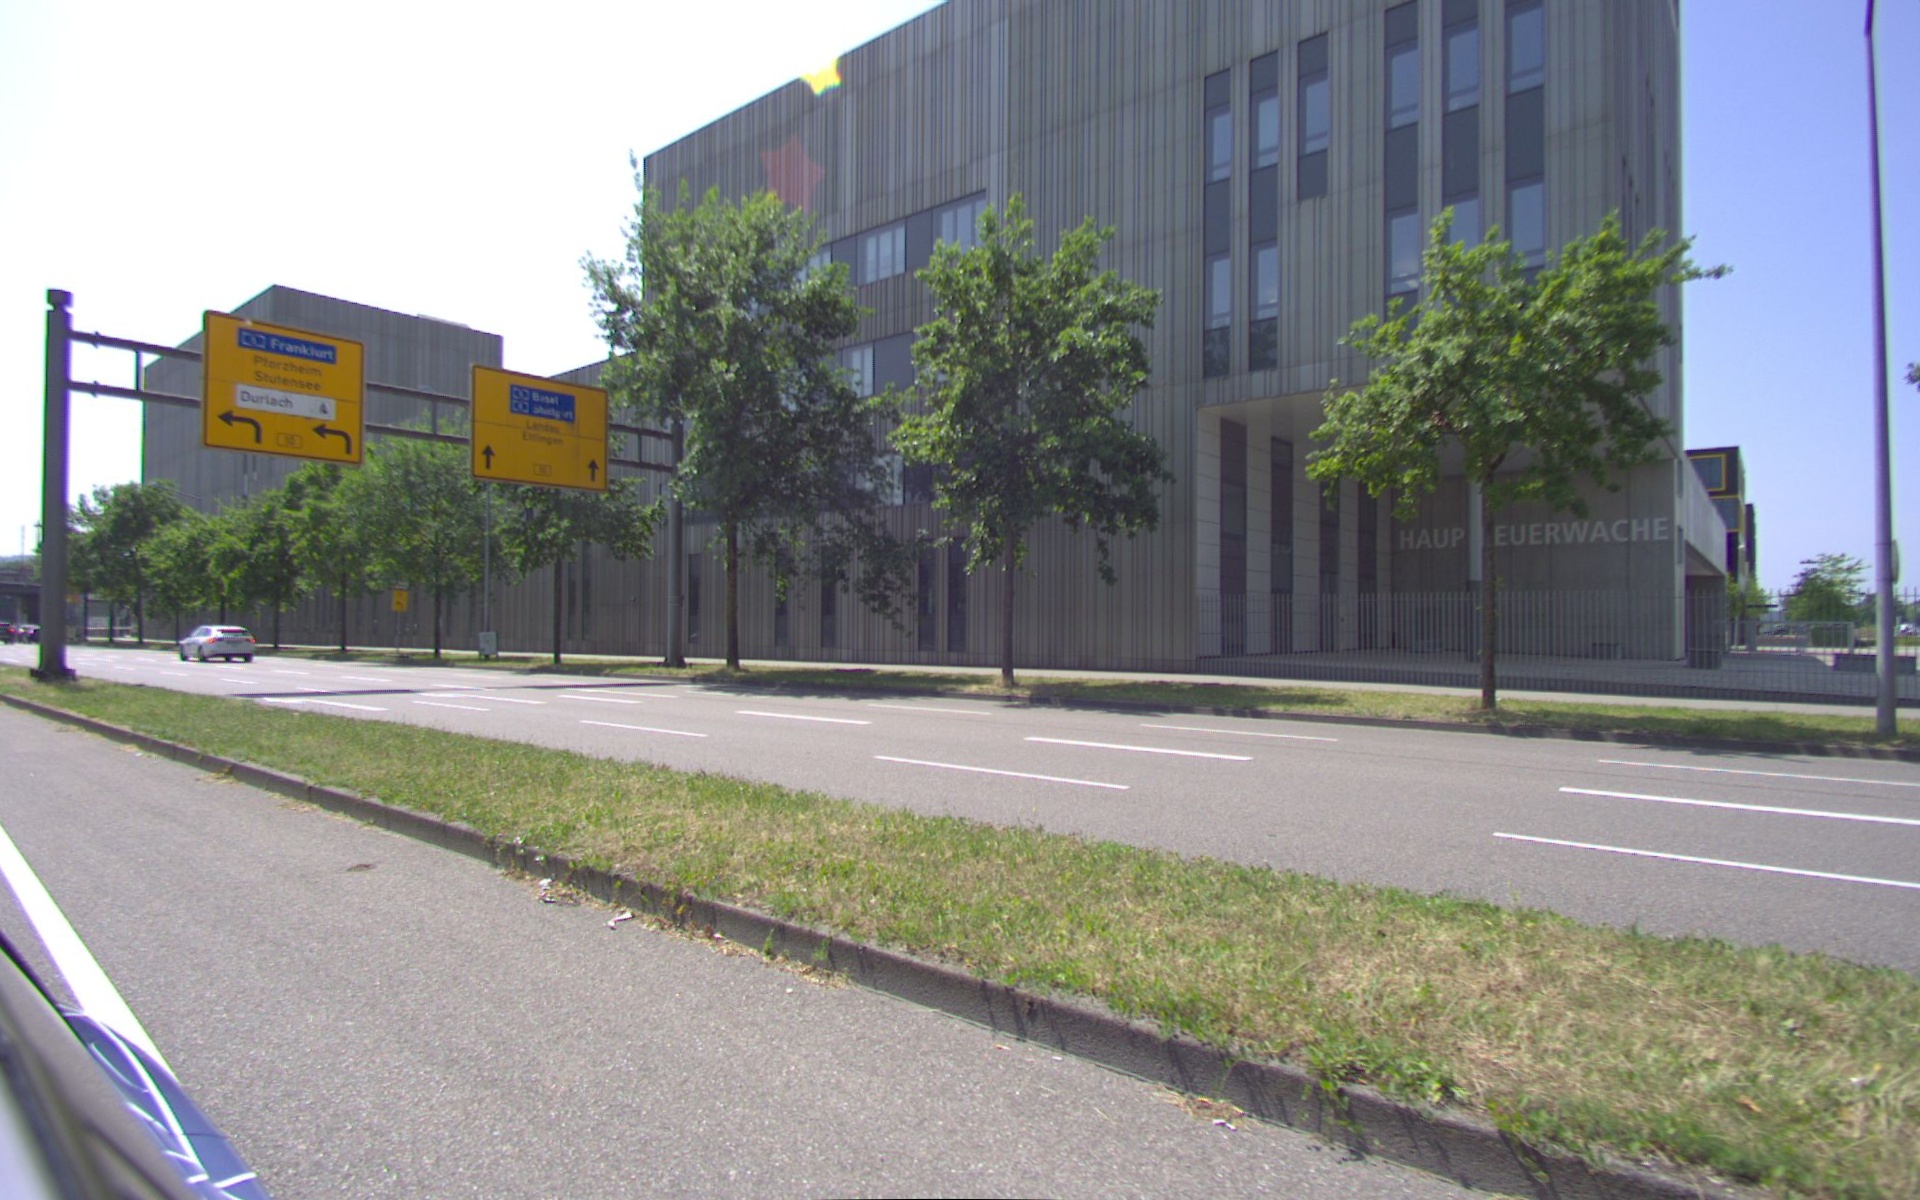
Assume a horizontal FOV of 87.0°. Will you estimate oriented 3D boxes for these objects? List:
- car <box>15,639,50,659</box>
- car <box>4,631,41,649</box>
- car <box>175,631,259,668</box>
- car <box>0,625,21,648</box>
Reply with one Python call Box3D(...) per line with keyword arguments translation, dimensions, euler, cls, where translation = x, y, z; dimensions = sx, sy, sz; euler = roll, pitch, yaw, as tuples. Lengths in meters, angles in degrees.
Box3D(translation=(-76.902, 4.027, 83.896), dimensions=(4.015, 1.467, 1.604), euler=(1, -1, 41), cls="car")
Box3D(translation=(-81.929, 3.472, 88.440), dimensions=(4.365, 1.555, 1.792), euler=(-1, -2, 39), cls="car")
Box3D(translation=(-30.453, 2.013, 41.416), dimensions=(4.356, 1.438, 1.791), euler=(-1, -3, 41), cls="car")
Box3D(translation=(-77.002, 2.917, 81.126), dimensions=(4.640, 1.760, 1.793), euler=(-1, -2, 38), cls="car")
